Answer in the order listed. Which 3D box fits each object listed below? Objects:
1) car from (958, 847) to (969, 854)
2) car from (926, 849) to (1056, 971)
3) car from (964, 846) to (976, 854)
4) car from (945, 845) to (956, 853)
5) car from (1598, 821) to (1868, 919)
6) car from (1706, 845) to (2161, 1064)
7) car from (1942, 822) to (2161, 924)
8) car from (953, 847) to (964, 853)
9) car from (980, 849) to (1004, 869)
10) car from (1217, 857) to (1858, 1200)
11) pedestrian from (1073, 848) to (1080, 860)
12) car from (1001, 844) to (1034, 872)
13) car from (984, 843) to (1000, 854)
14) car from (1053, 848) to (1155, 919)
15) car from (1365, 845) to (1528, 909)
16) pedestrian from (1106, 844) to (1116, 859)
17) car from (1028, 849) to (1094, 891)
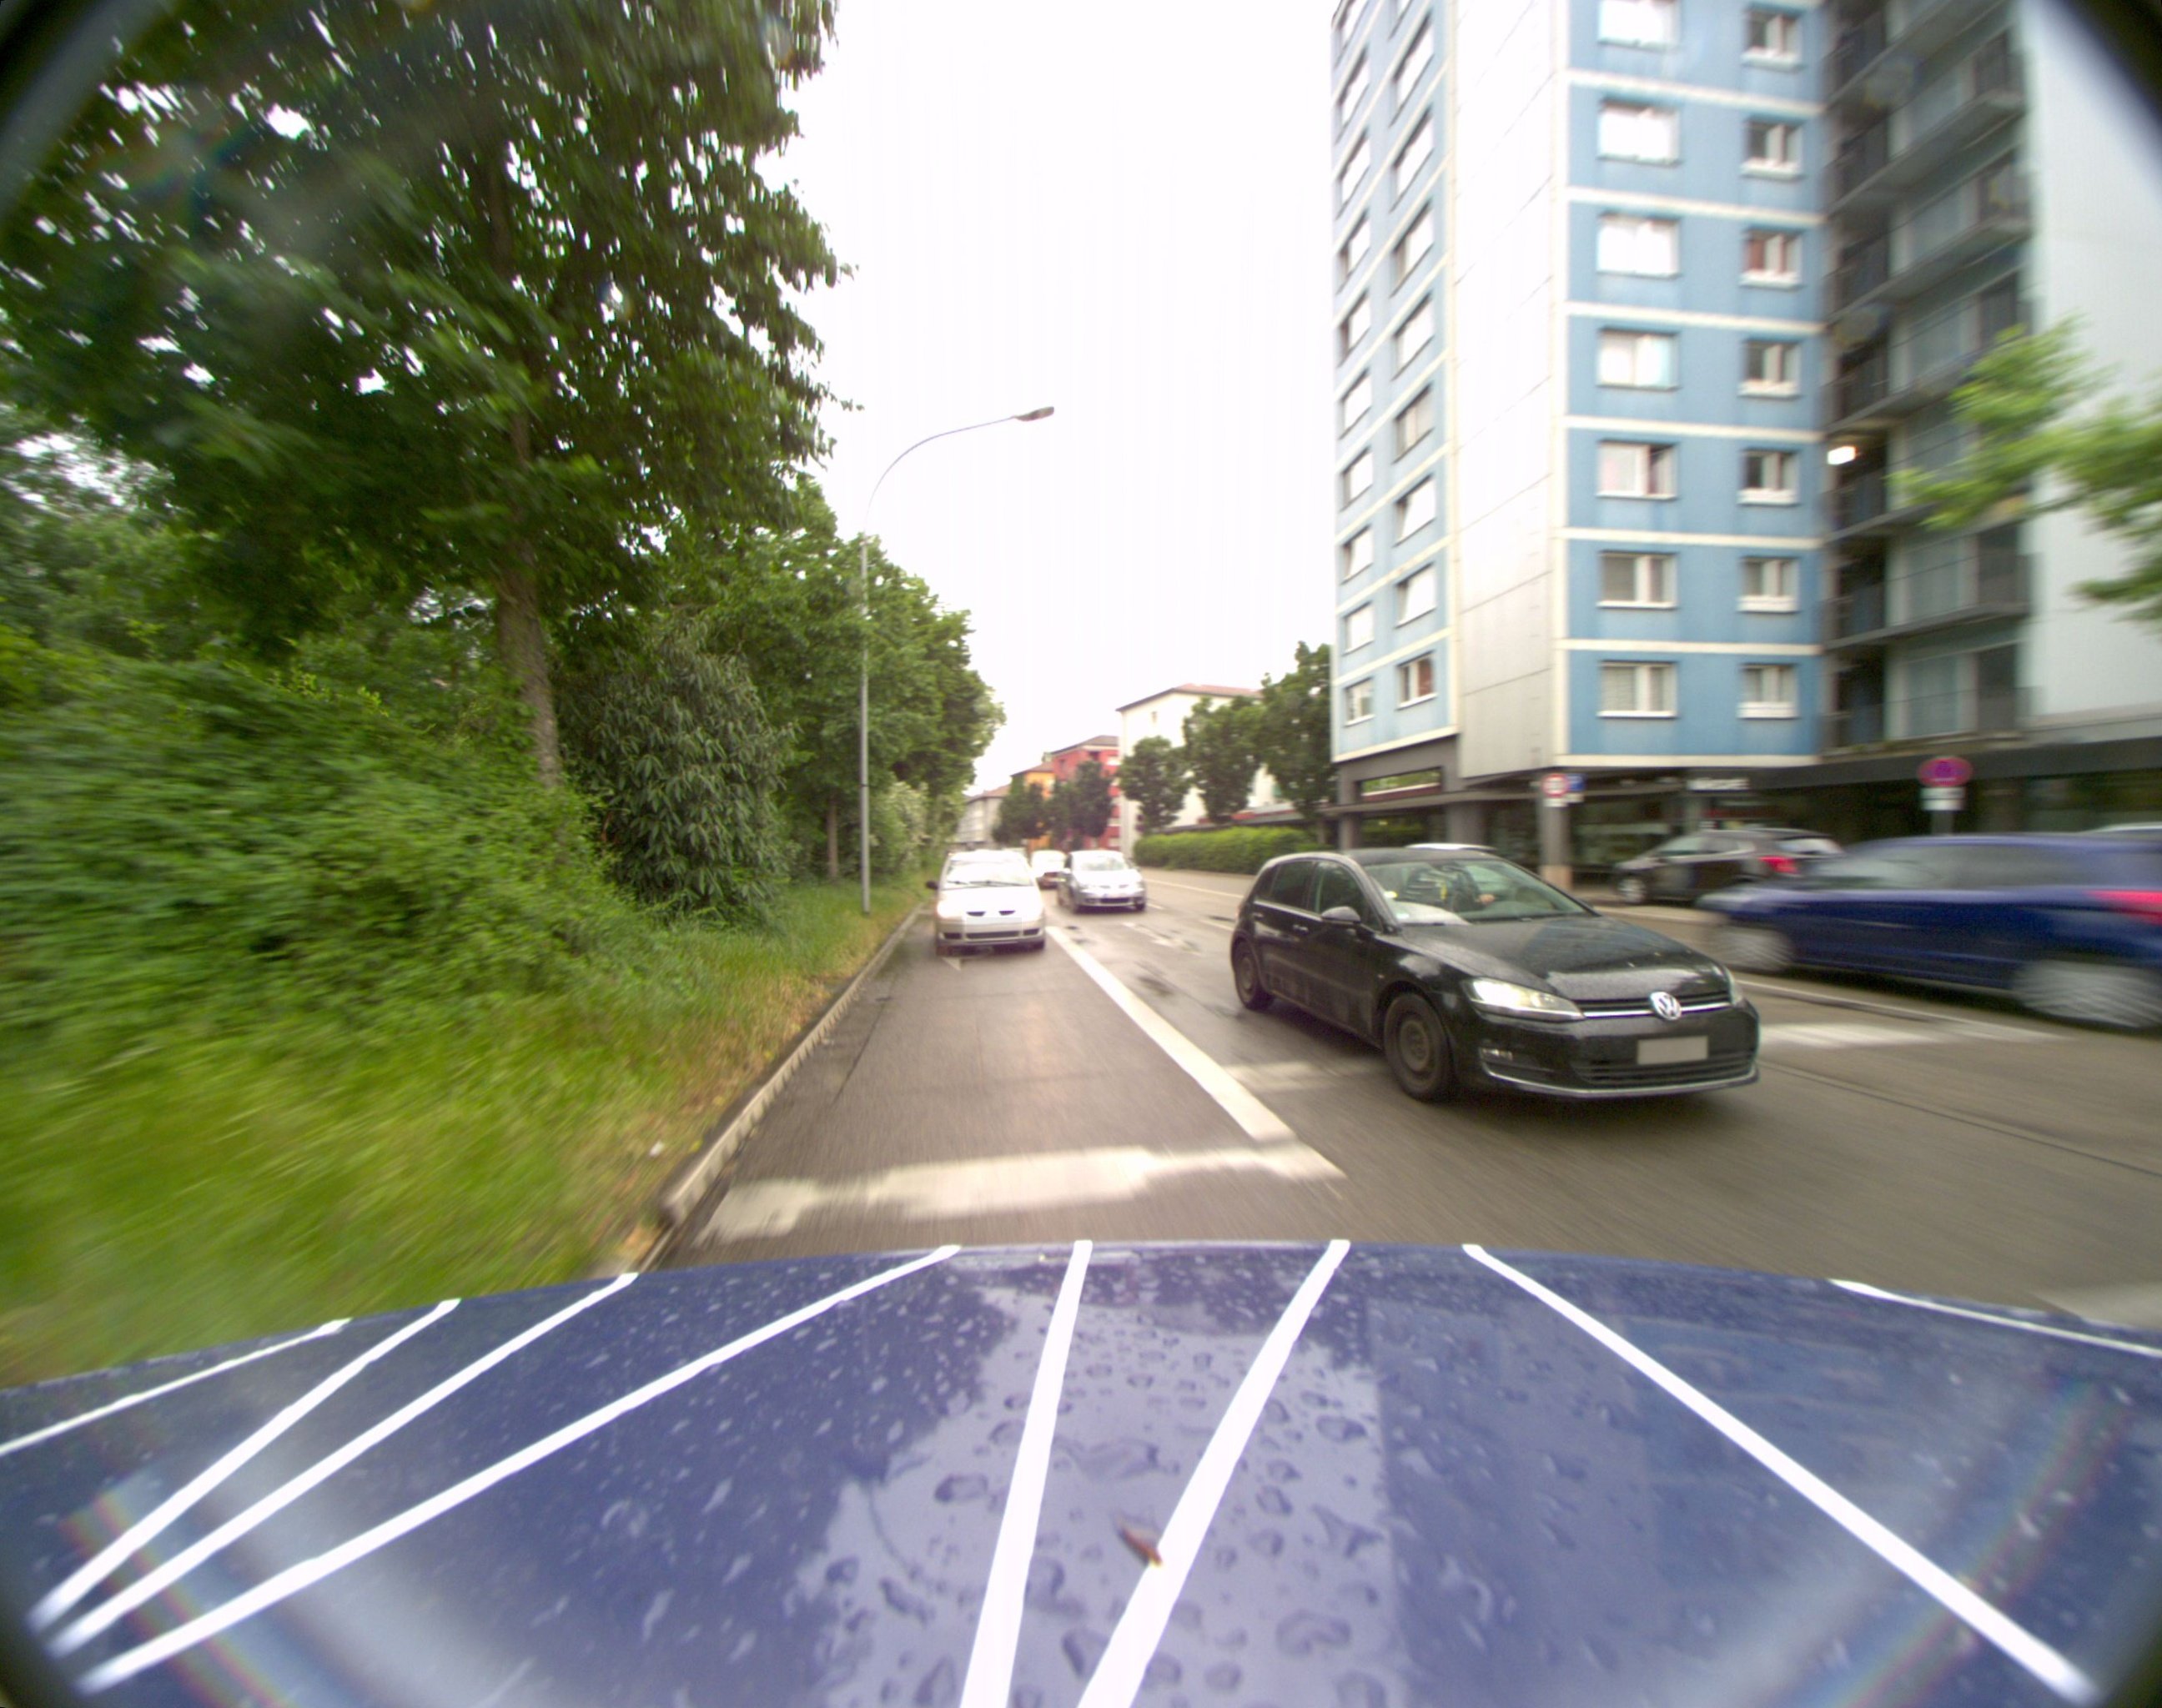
[{"bbox_3d":[-27.451,-0.786,177.154,1.729,1.472,4.307,1,0,-20],"label":"car"},{"bbox_3d":[-1.579,0.766,12.784,1.756,1.587,4.164,-3,2,-9],"label":"car"},{"bbox_3d":[-25.112,-0.953,171.603,1.854,1.536,4.240,-4,2,-19],"label":"car"},{"bbox_3d":[-33.482,-1.241,194.892,1.908,1.859,4.307,-2,1,-20],"label":"car"},{"bbox_3d":[13.164,0.259,15.748,1.544,1.696,4.283,-2,1,-8],"label":"car"},{"bbox_3d":[8.108,0.677,6.697,1.792,1.483,3.811,0,1,-6],"label":"car"},{"bbox_3d":[18.530,0.291,13.086,2.000,1.645,4.506,-2,1,-9],"label":"car"},{"bbox_3d":[-29.363,-0.898,181.975,1.729,1.472,4.307,1,0,-20],"label":"car"},{"bbox_3d":[-9.347,0.496,79.803,2.000,1.816,3.995,-4,2,-12],"label":"car"},{"bbox_3d":[2.487,0.769,5.426,1.761,1.444,3.997,-2,0,-9],"label":"car"},{"bbox_3d":[-0.611,0.000,96.677,0.674,1.441,0.834,-1,1,-18],"label":"pedestrian"},{"bbox_3d":[-3.942,0.192,46.542,1.737,1.590,3.996,-2,1,-9],"label":"car"},{"bbox_3d":[-14.823,-0.958,126.383,2.001,1.740,4.800,-1,1,-15],"label":"car"},{"bbox_3d":[0.436,0.624,18.572,1.749,1.478,4.157,-1,1,-9],"label":"car"},{"bbox_3d":[9.503,0.540,20.178,2.000,1.486,4.085,2,0,-6],"label":"car"},{"bbox_3d":[3.145,-0.258,78.752,0.695,1.508,1.068,-1,1,-18],"label":"pedestrian"},{"bbox_3d":[-0.894,0.576,30.143,2.073,1.456,4.582,-1,1,-8],"label":"car"}]
